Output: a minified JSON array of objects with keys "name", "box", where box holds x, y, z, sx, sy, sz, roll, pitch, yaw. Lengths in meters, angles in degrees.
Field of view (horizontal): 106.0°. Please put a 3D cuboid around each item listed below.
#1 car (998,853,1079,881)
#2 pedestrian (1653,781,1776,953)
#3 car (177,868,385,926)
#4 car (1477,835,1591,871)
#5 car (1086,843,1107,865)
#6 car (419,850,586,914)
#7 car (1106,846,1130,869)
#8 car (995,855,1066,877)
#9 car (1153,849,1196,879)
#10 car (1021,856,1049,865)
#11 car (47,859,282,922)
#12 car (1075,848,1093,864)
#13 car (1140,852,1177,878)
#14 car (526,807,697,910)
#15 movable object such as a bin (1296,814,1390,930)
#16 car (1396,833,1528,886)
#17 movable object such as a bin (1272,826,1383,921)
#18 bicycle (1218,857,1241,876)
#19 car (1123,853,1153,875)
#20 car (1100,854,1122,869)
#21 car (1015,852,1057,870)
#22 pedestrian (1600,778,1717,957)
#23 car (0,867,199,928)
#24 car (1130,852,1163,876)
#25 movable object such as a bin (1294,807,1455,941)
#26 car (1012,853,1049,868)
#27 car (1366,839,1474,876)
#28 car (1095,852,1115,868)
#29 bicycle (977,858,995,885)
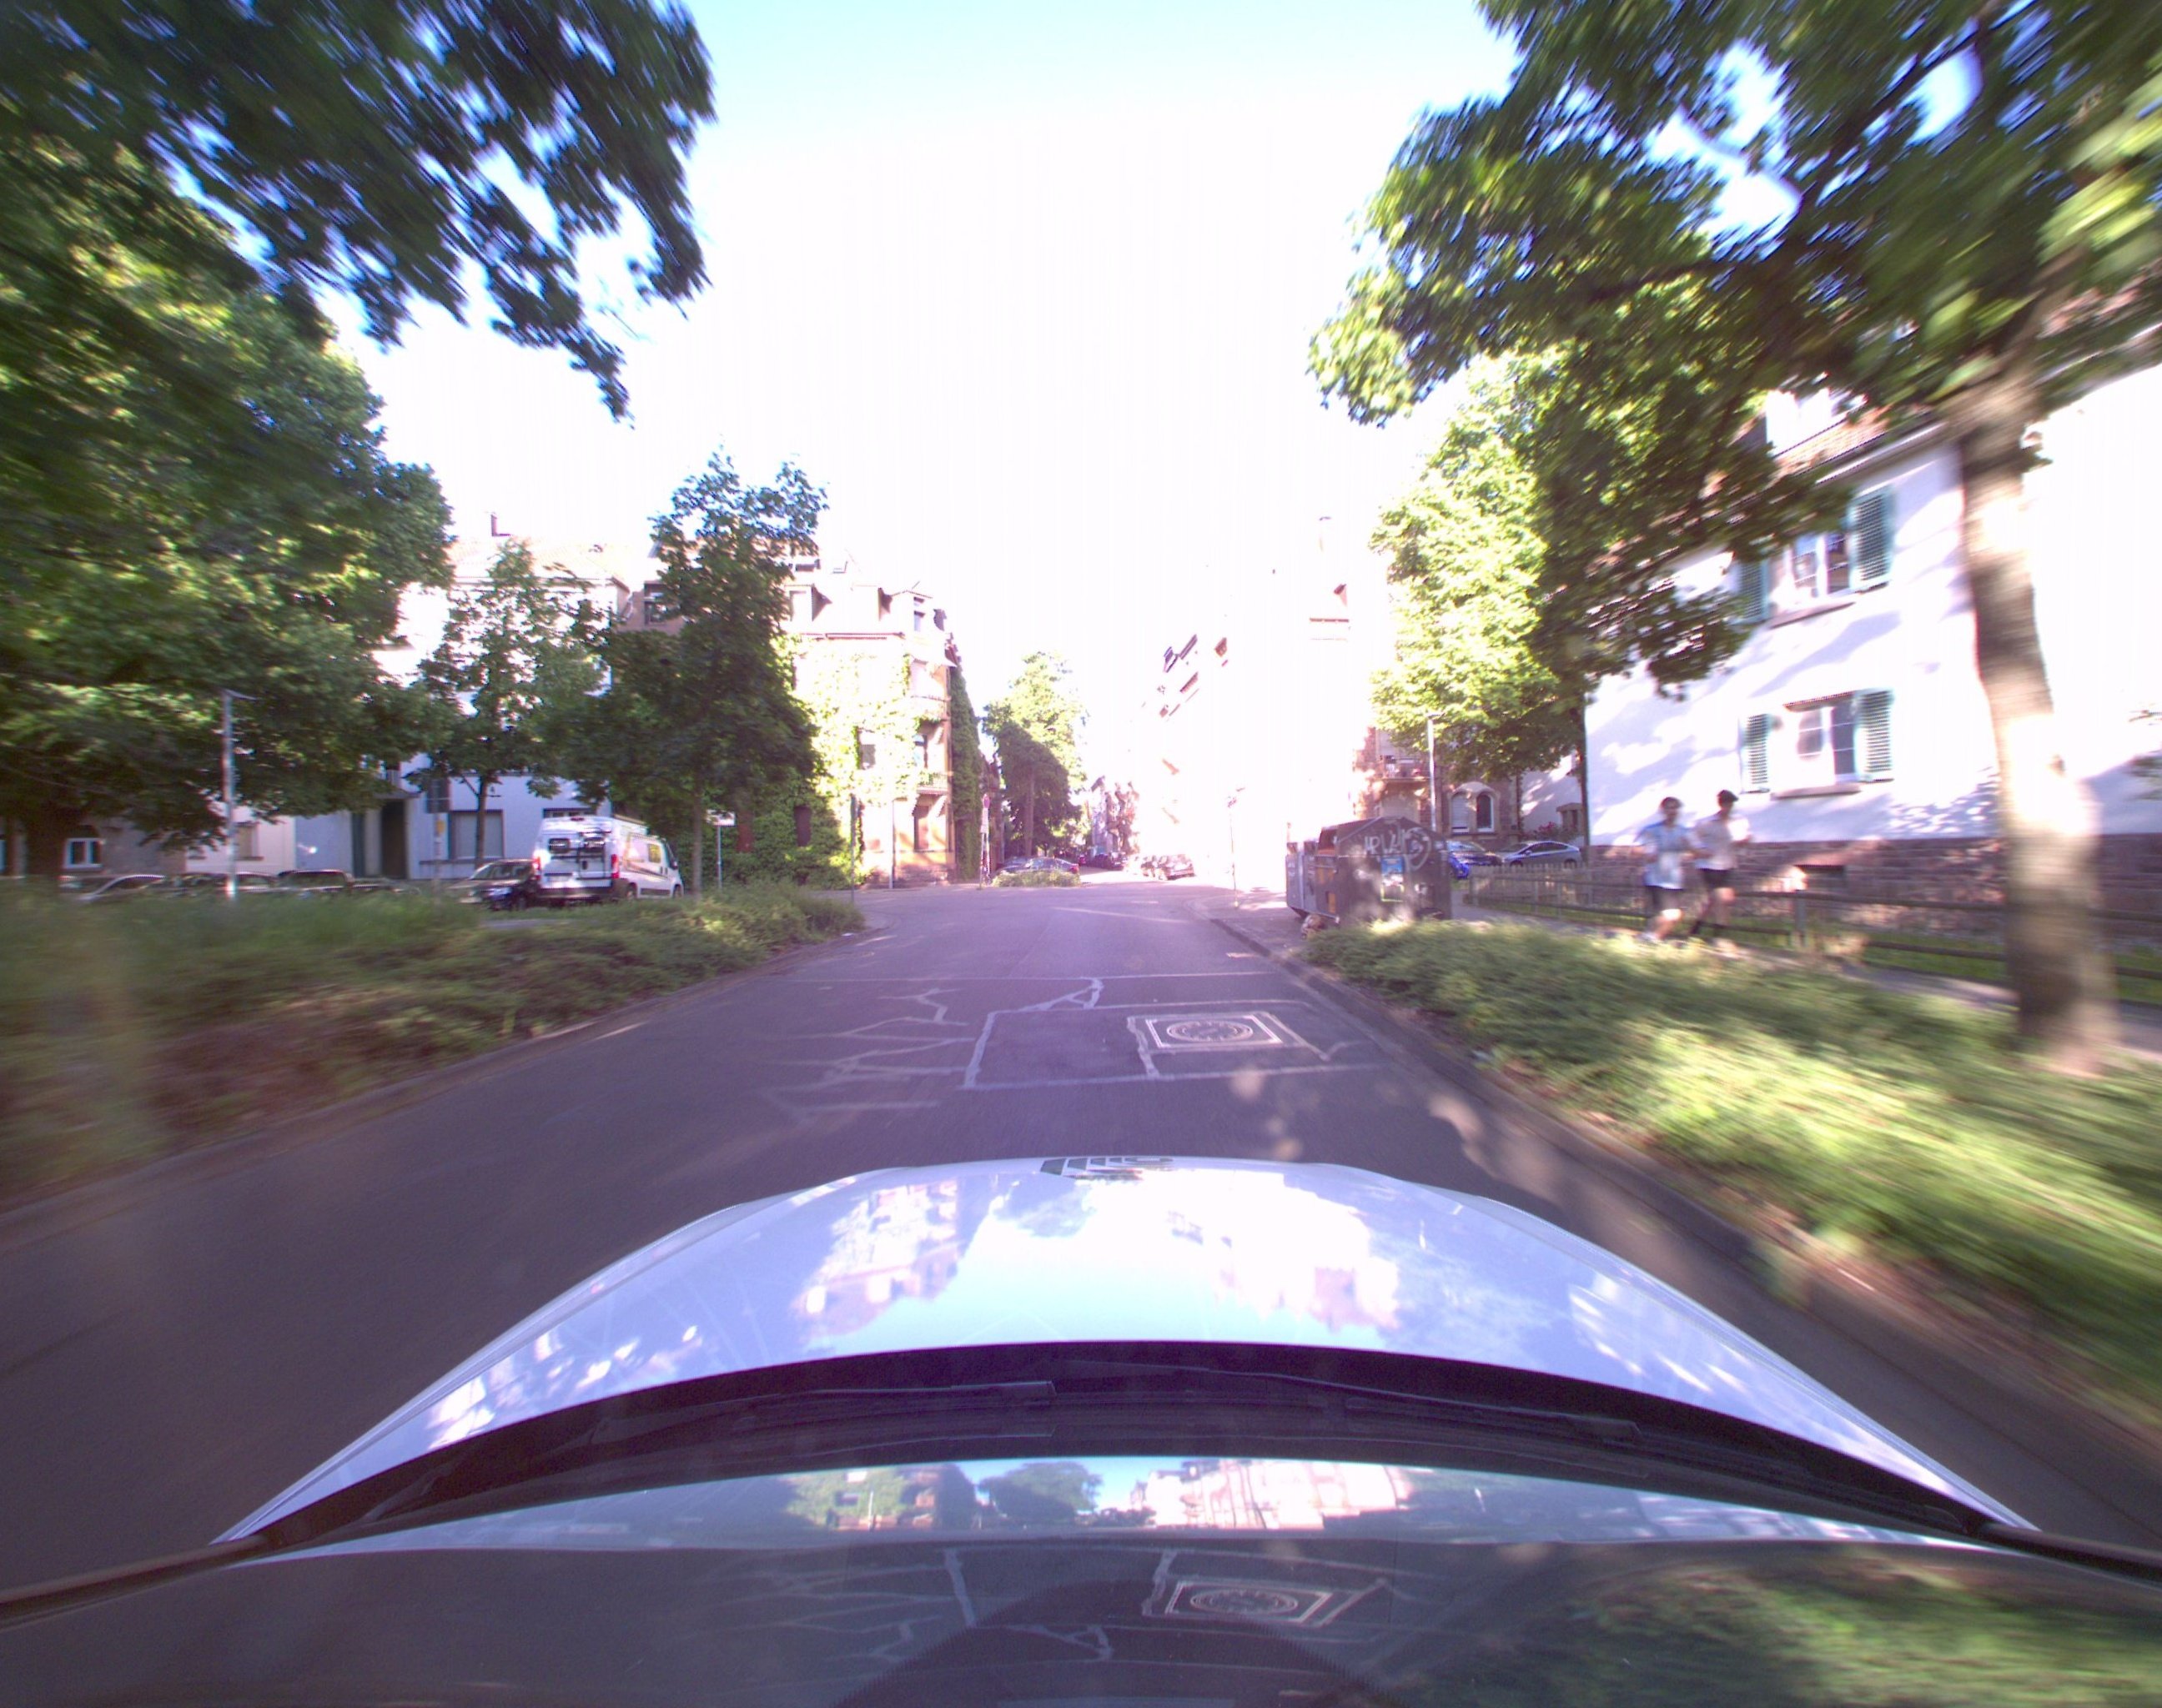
[{"name":"car","box":[-2.333,0.713,44.077,4.237,1.435,1.996,0,0,-6]},{"name":"pedestrian","box":[7.366,0.146,9.525,0.640,1.894,1.019,0,-1,2]},{"name":"car","box":[-21.060,1.072,21.702,1.970,1.342,3.871,0,0,-7]},{"name":"car","box":[20.733,-0.055,37.356,4.439,1.498,1.730,-2,1,-9]},{"name":"car","box":[1.837,0.002,99.774,2.162,2.690,4.784,0,0,-4]},{"name":"car","box":[-15.831,0.719,22.616,1.970,1.575,4.289,0,0,-7]},{"name":"car","box":[3.348,0.301,74.331,1.799,2.004,3.994,0,0,-4]},{"name":"car","box":[-3.499,0.832,56.302,4.828,1.435,1.706,0,0,-6]},{"name":"car","box":[5.203,0.561,45.727,1.734,1.581,3.994,0,0,-4]},{"name":"car","box":[-6.359,0.861,111.622,3.797,1.240,1.706,0,0,-6]},{"name":"car","box":[-23.570,0.875,21.215,1.970,1.442,3.871,0,0,-7]},{"name":"car","box":[0.417,0.354,116.833,2.162,2.237,4.784,0,0,-4]},{"name":"car","box":[4.900,0.668,52.141,1.734,1.581,3.994,0,0,-4]},{"name":"car","box":[-13.238,0.123,23.474,2.229,2.614,5.617,0,0,-7]},{"name":"movable object such as a bin","box":[4.326,0.288,13.571,1.143,1.827,1.386,0,-1,1]},{"name":"car","box":[12.076,0.221,26.121,1.992,1.556,3.988,0,-2,-8]},{"name":"movable object such as a bin","box":[4.523,0.341,15.106,1.580,1.657,1.640,0,-1,1]},{"name":"bicycle","box":[7.692,0.638,42.201,0.515,0.998,1.567,0,0,-16]},{"name":"car","box":[4.283,0.734,61.925,1.734,1.581,3.994,0,0,-4]},{"name":"car","box":[2.994,0.743,82.530,1.799,1.514,3.994,0,0,-4]},{"name":"car","box":[-4.187,0.641,75.928,3.799,1.575,1.705,0,-1,-8]},{"name":"pedestrian","box":[6.432,0.146,9.117,0.670,1.894,0.895,0,-1,1]},{"name":"car","box":[-25.645,1.044,20.923,1.970,1.377,3.871,0,0,-7]},{"name":"car","box":[4.527,0.703,57.152,1.734,1.581,3.994,0,0,-4]},{"name":"movable object such as a bin","box":[4.297,0.285,12.124,1.914,1.853,1.394,0,-1,1]},{"name":"car","box":[-5.324,0.654,85.668,3.797,1.575,1.706,0,-1,-6]},{"name":"car","box":[15.264,0.131,36.768,4.243,1.622,1.730,0,1,-9]},{"name":"car","box":[2.596,0.633,89.520,1.799,1.679,3.994,0,0,-4]},{"name":"bicycle","box":[-4.609,0.851,39.727,0.560,1.268,1.604,-2,0,3]}]
